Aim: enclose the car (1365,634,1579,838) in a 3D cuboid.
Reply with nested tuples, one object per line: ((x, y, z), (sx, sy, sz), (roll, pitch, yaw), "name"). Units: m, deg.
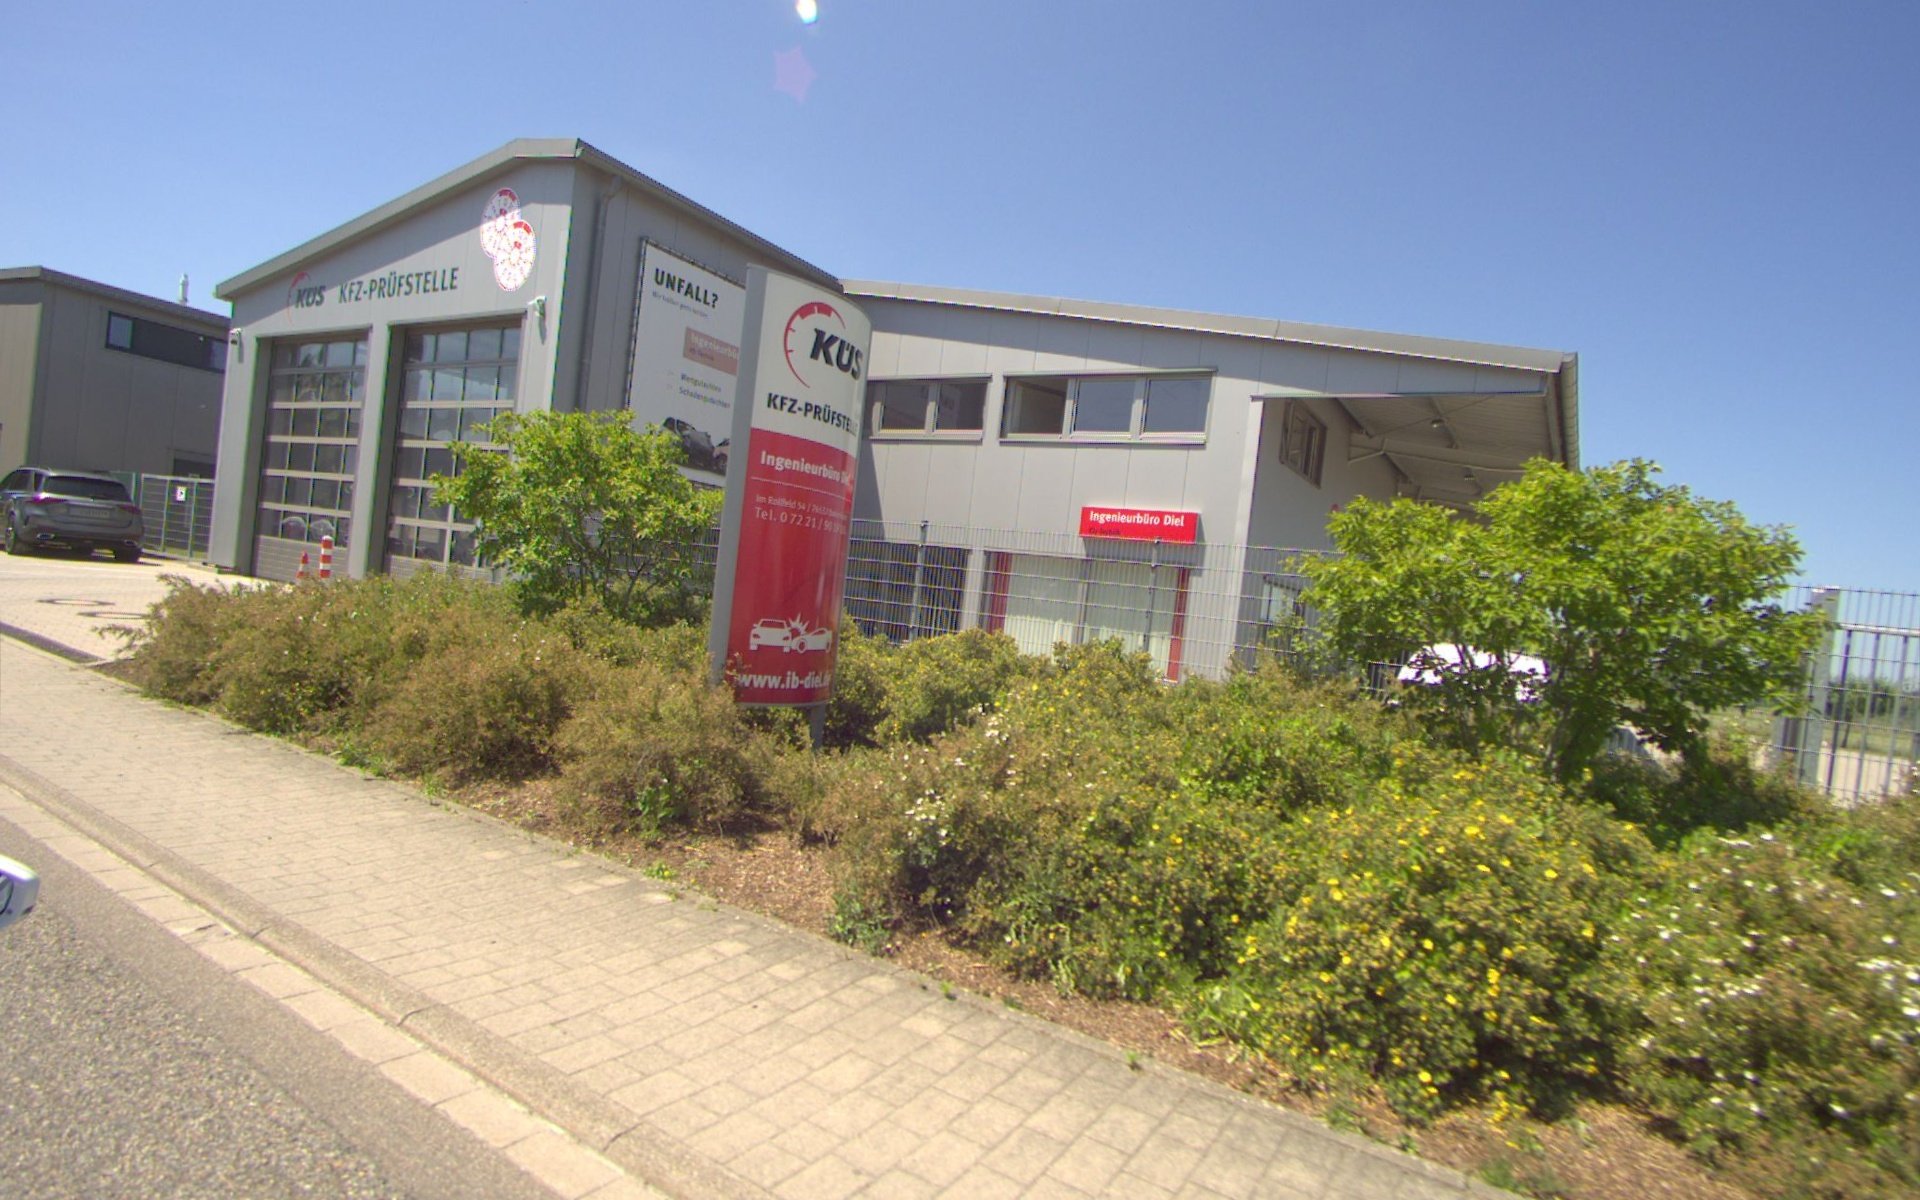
((5.808, 1.393, 11.227), (1.675, 1.698, 3.615), (7, 0, 31), "car")

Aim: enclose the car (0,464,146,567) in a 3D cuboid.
((-19.095, -1.813, 21.130), (4.828, 1.806, 1.785), (6, 1, 35), "car")
